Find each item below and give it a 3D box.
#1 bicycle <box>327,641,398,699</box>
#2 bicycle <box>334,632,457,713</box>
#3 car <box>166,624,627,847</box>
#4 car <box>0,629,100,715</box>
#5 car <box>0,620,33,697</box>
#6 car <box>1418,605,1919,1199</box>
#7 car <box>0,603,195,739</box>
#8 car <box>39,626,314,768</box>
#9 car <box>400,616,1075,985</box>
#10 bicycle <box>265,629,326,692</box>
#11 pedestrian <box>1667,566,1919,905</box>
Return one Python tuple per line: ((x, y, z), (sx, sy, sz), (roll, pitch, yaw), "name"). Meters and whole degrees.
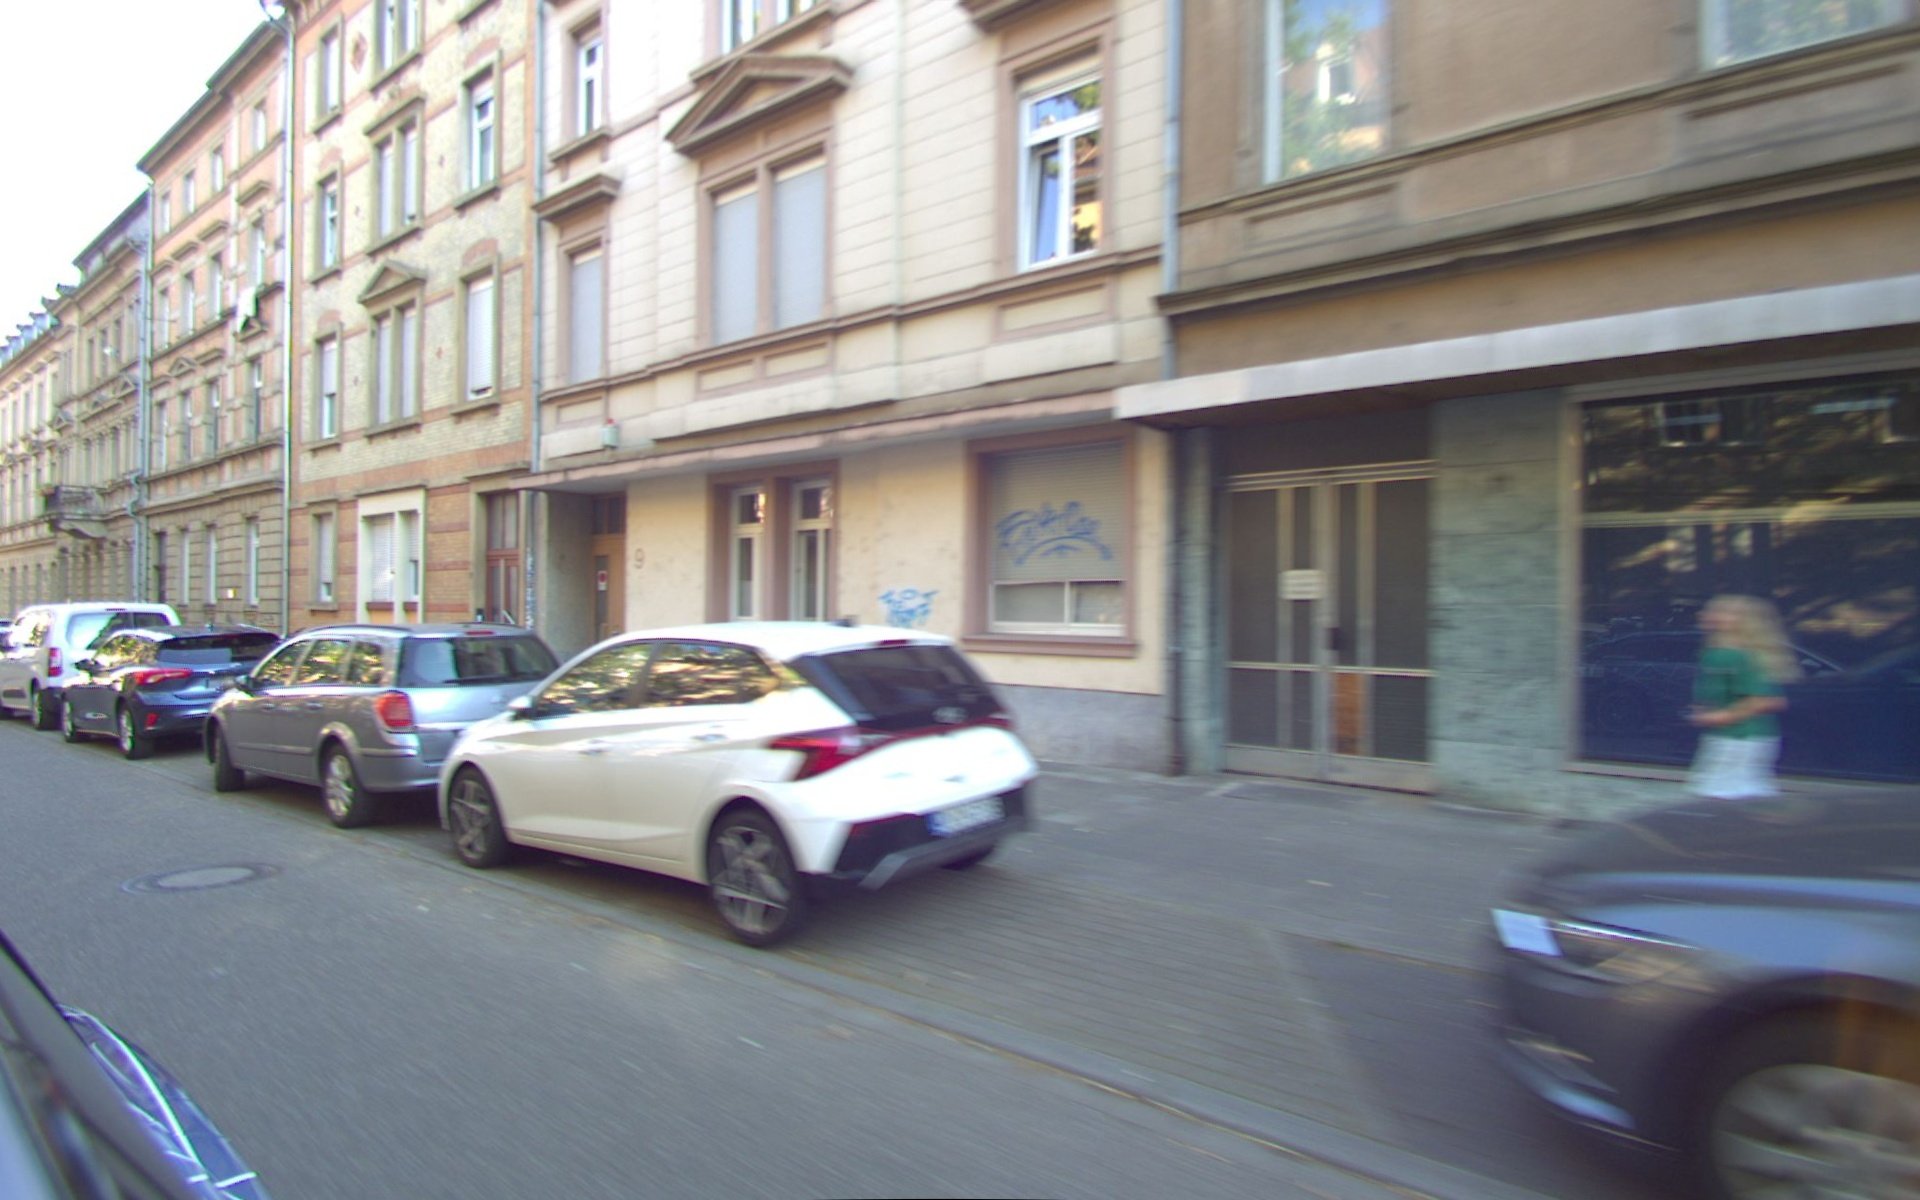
((-11.363, 1.308, 19.226), (1.906, 1.031, 0.489), (-1, -1, 38), "bicycle")
((-9.563, 1.183, 17.091), (2.661, 1.290, 0.623), (-1, -2, 32), "bicycle")
((-5.055, 0.953, 8.823), (4.535, 1.455, 1.868), (-1, -1, 37), "car")
((-17.599, 1.281, 18.866), (3.819, 1.432, 1.621), (-1, -1, 37), "car")
((-22.575, 1.306, 22.904), (4.153, 1.670, 1.749), (-1, -1, 39), "car")
((3.513, 0.741, 1.936), (4.484, 1.484, 1.844), (-1, -2, 40), "car")
((-13.910, 1.011, 15.956), (4.600, 1.847, 1.825), (-1, -1, 38), "car")
((-9.848, 1.072, 12.620), (4.238, 1.484, 1.730), (-1, -2, 38), "car")
((-1.513, 0.859, 6.044), (4.082, 1.484, 1.740), (-1, -2, 38), "car")
((-13.965, 1.248, 21.248), (1.906, 1.267, 0.489), (-1, -1, 38), "bicycle")
((4.487, 0.669, 5.489), (1.017, 1.643, 0.689), (-1, -2, 37), "pedestrian")
